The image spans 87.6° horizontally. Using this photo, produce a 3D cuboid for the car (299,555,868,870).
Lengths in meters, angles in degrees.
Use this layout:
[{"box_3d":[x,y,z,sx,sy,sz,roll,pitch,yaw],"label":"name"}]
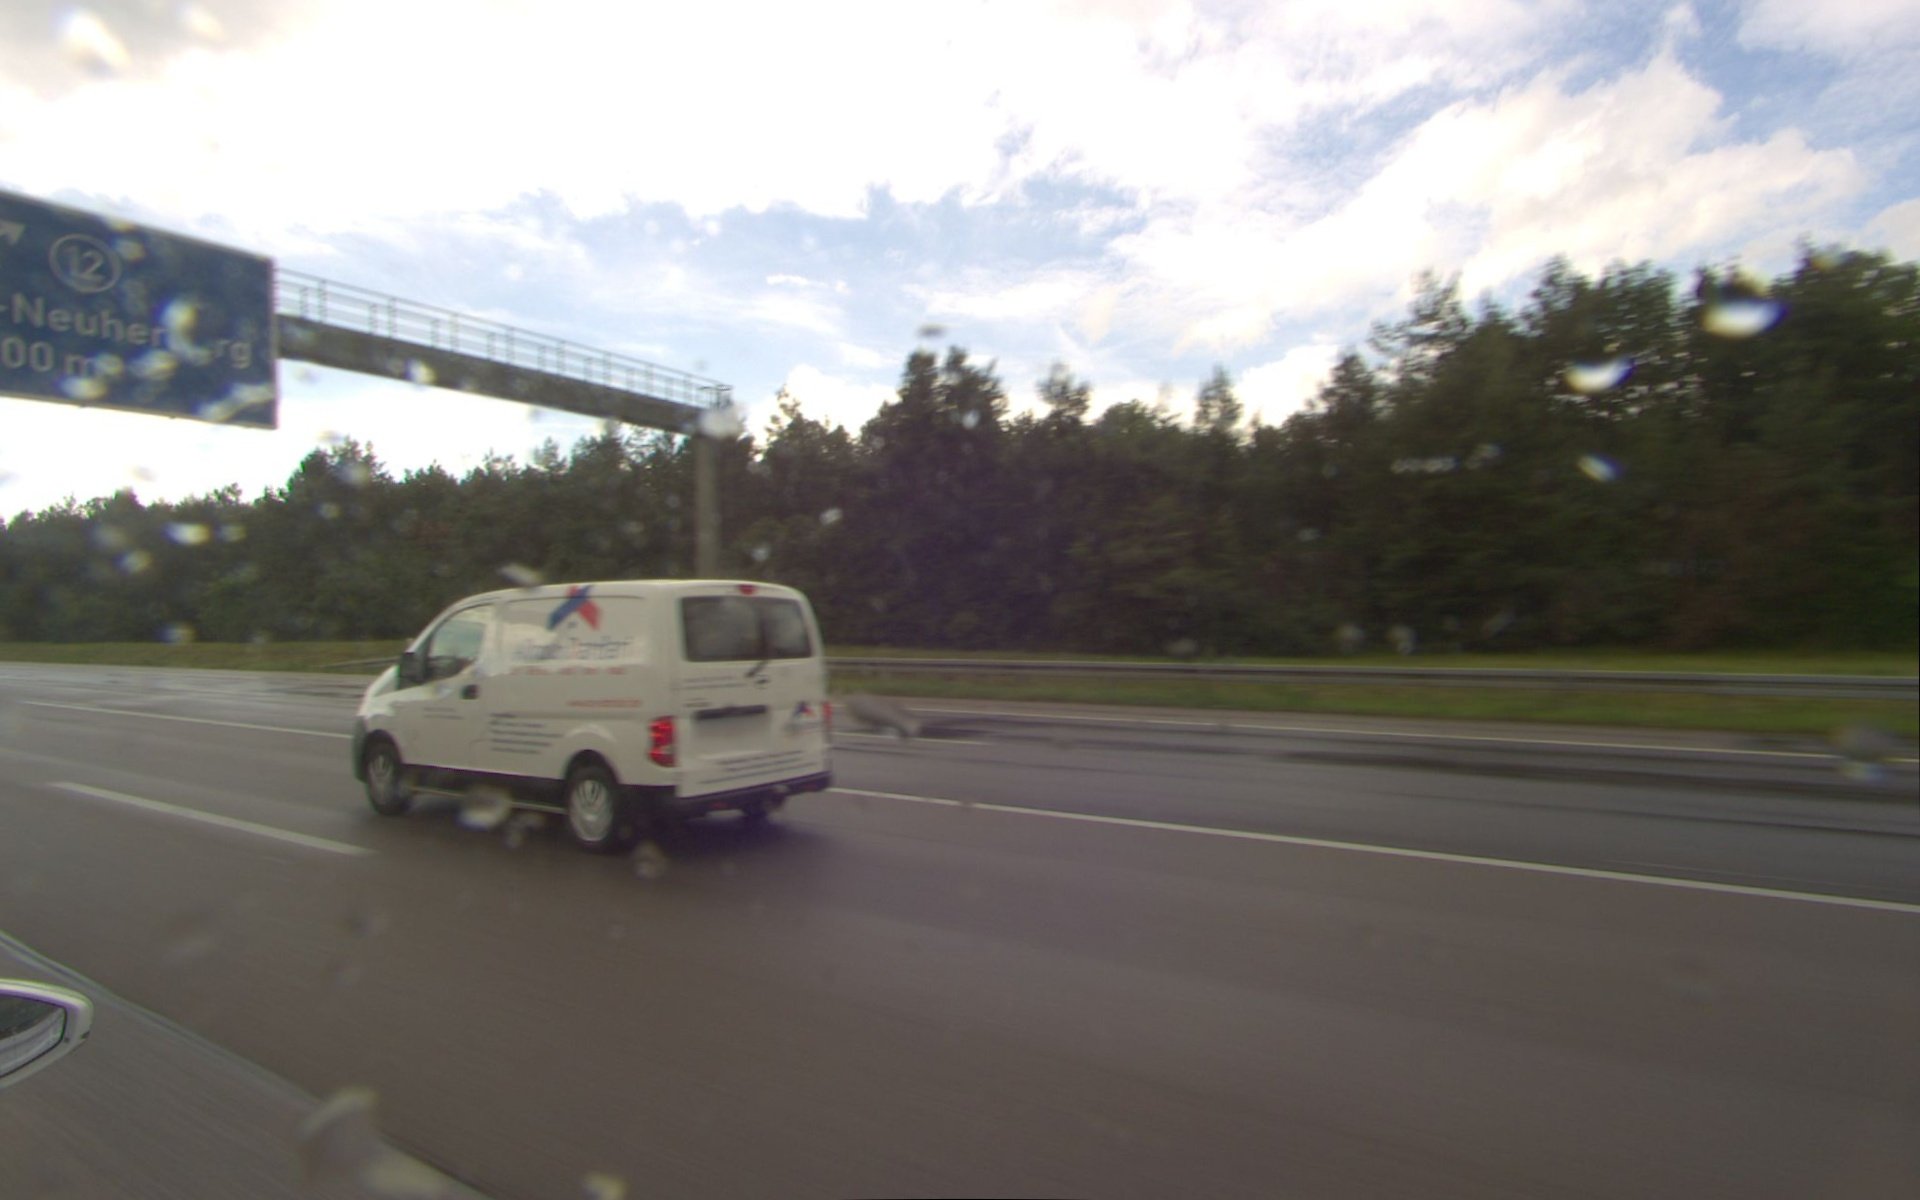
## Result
[{"box_3d":[-3.252,0.749,8.274,4.813,1.926,1.960,-1,-1,33],"label":"car"}]
